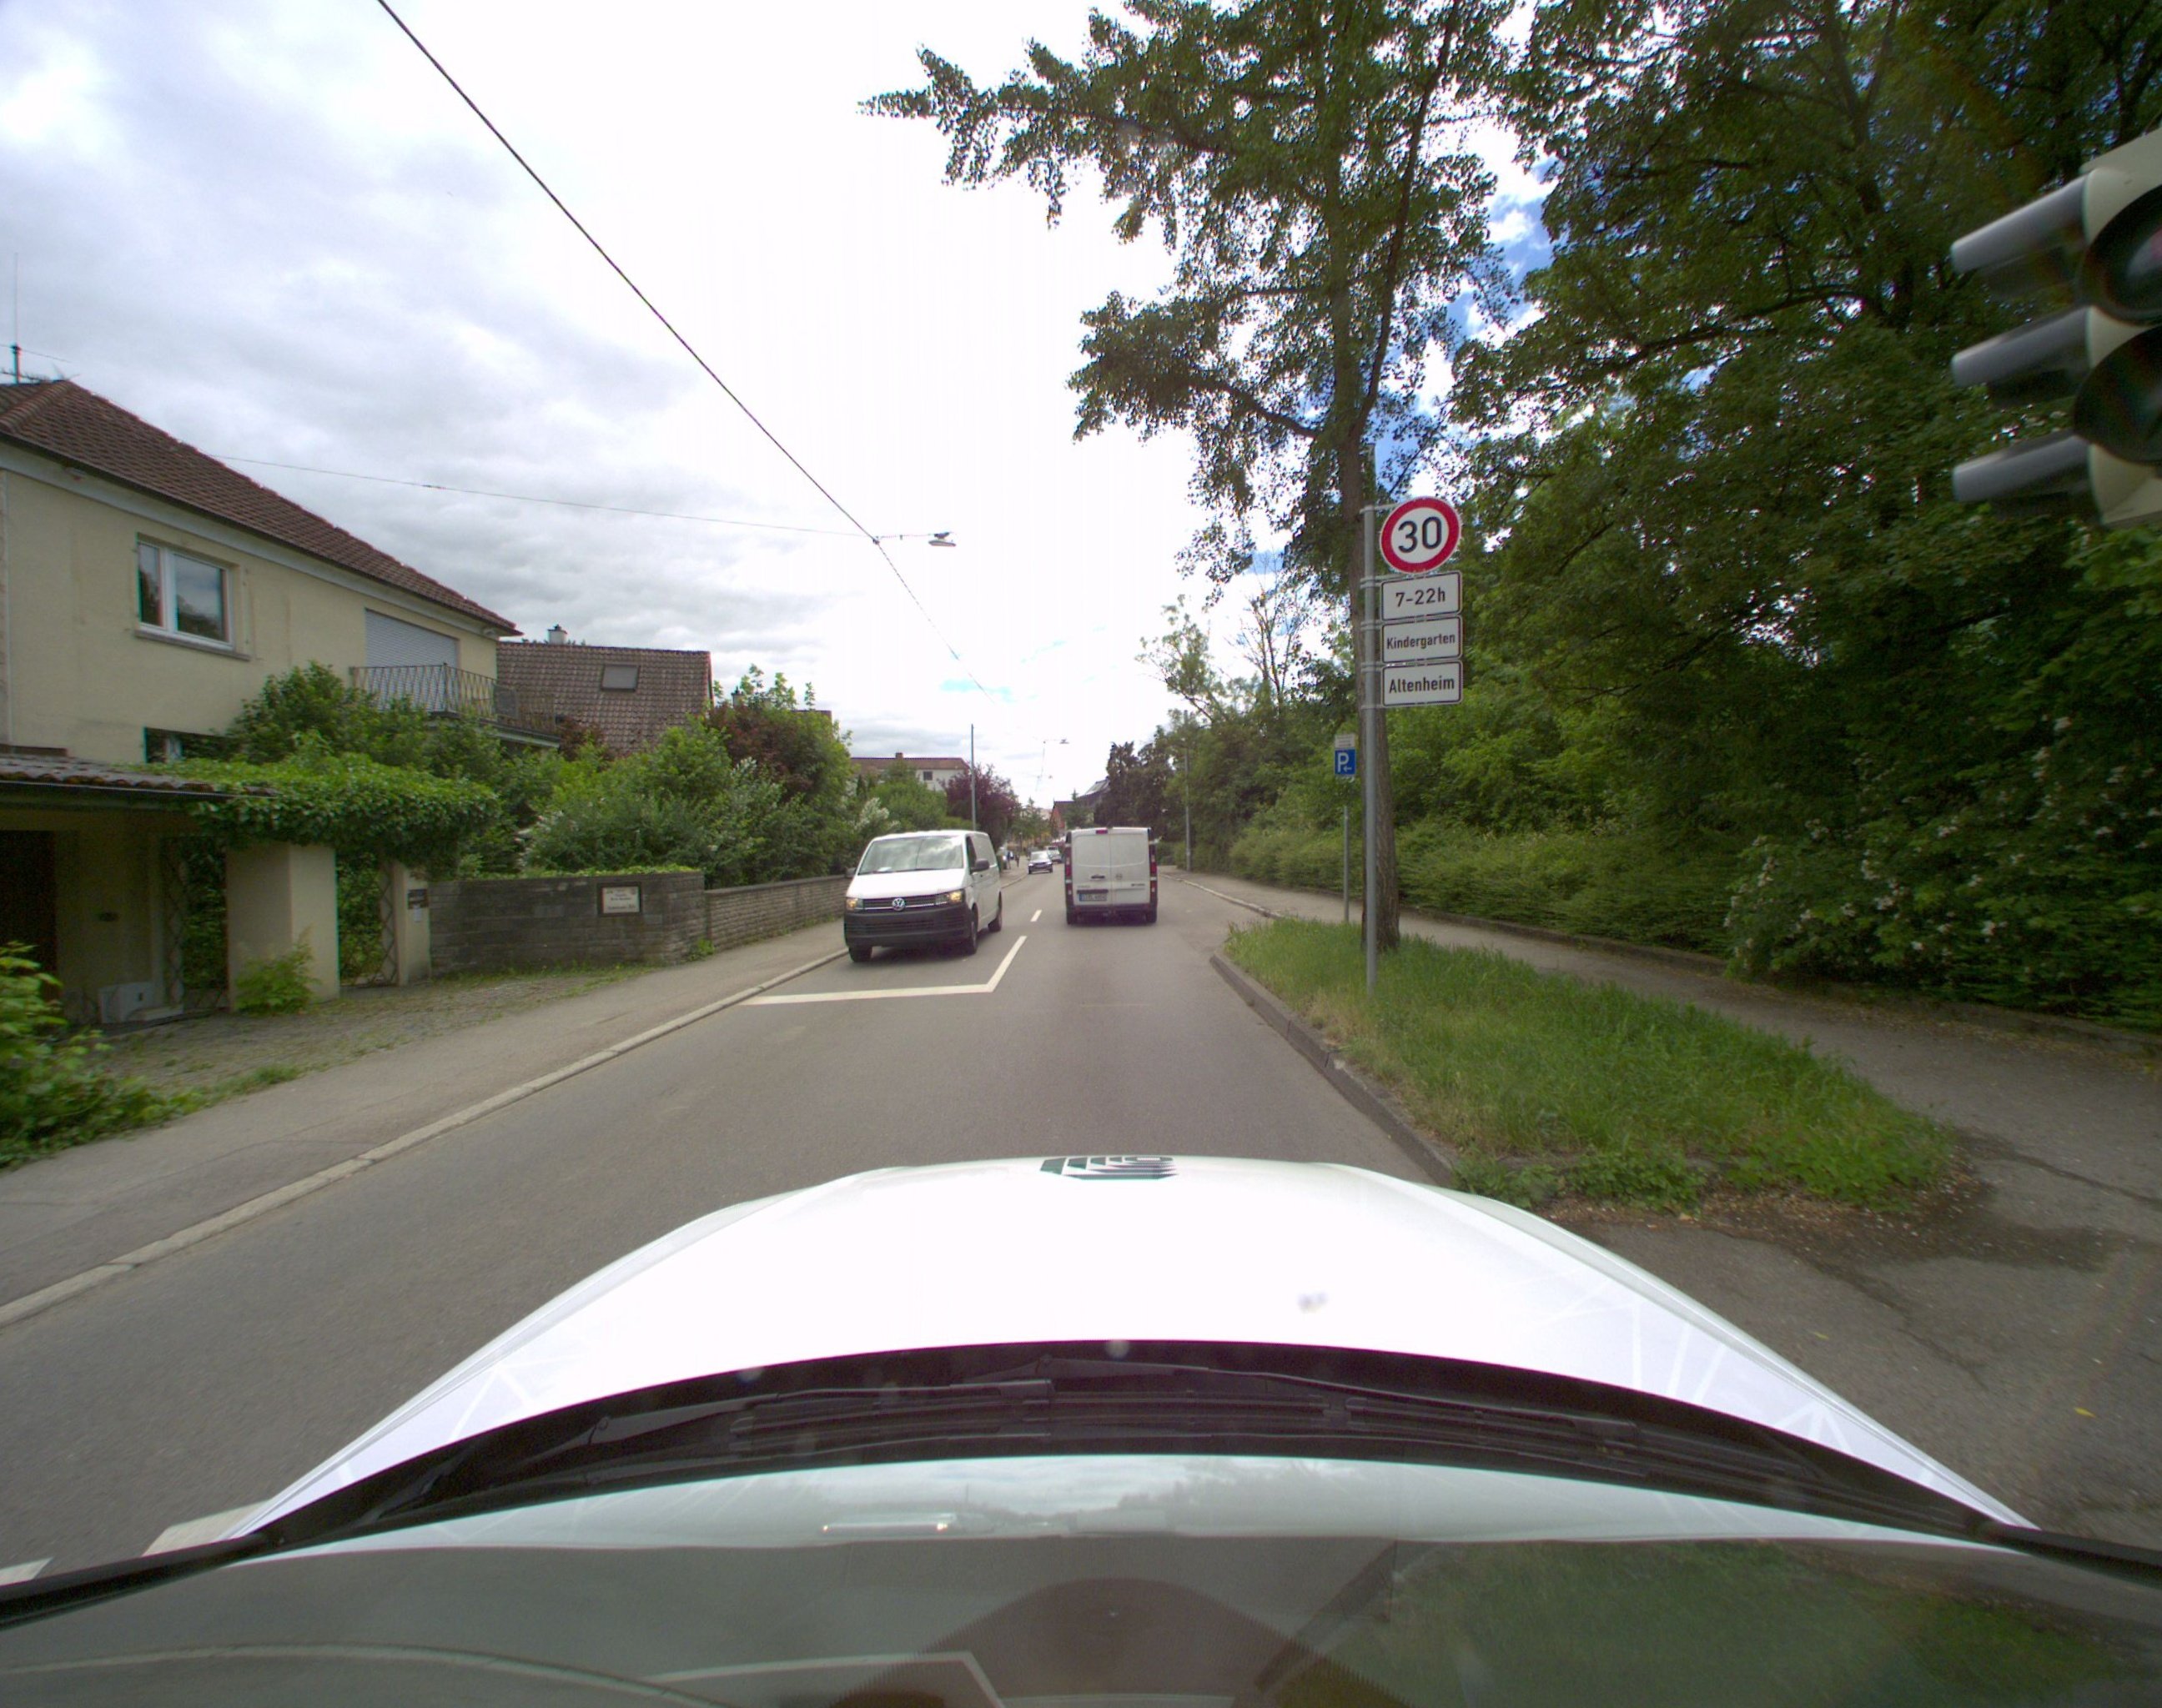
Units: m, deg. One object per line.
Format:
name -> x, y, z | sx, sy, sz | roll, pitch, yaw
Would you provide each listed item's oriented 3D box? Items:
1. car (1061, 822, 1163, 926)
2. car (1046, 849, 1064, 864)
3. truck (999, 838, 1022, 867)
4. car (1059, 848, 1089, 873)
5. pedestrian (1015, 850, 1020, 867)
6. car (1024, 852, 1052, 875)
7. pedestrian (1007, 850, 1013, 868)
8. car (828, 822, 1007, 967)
car -> 0.612, 0.386, 17.888 | 1.923, 1.964, 4.401 | -1, 0, 0
car -> -3.098, 0.332, 97.005 | 1.823, 1.728, 3.990 | -1, 0, -7
truck -> -6.541, -0.147, 75.409 | 1.989, 2.683, 3.995 | 0, 0, -4
car -> -0.513, 0.480, 63.484 | 1.887, 1.860, 4.411 | -1, 0, 5
pedestrian -> -6.915, 0.516, 88.351 | 0.513, 1.797, 0.542 | 0, 0, -4
car -> -3.248, 0.660, 60.764 | 1.880, 1.512, 4.106 | -3, 1, -4
pedestrian -> -6.770, 0.499, 77.698 | 0.413, 1.714, 0.457 | -1, 0, 43
car -> -2.519, 0.528, 13.996 | 1.861, 1.911, 5.116 | -4, 1, 1
